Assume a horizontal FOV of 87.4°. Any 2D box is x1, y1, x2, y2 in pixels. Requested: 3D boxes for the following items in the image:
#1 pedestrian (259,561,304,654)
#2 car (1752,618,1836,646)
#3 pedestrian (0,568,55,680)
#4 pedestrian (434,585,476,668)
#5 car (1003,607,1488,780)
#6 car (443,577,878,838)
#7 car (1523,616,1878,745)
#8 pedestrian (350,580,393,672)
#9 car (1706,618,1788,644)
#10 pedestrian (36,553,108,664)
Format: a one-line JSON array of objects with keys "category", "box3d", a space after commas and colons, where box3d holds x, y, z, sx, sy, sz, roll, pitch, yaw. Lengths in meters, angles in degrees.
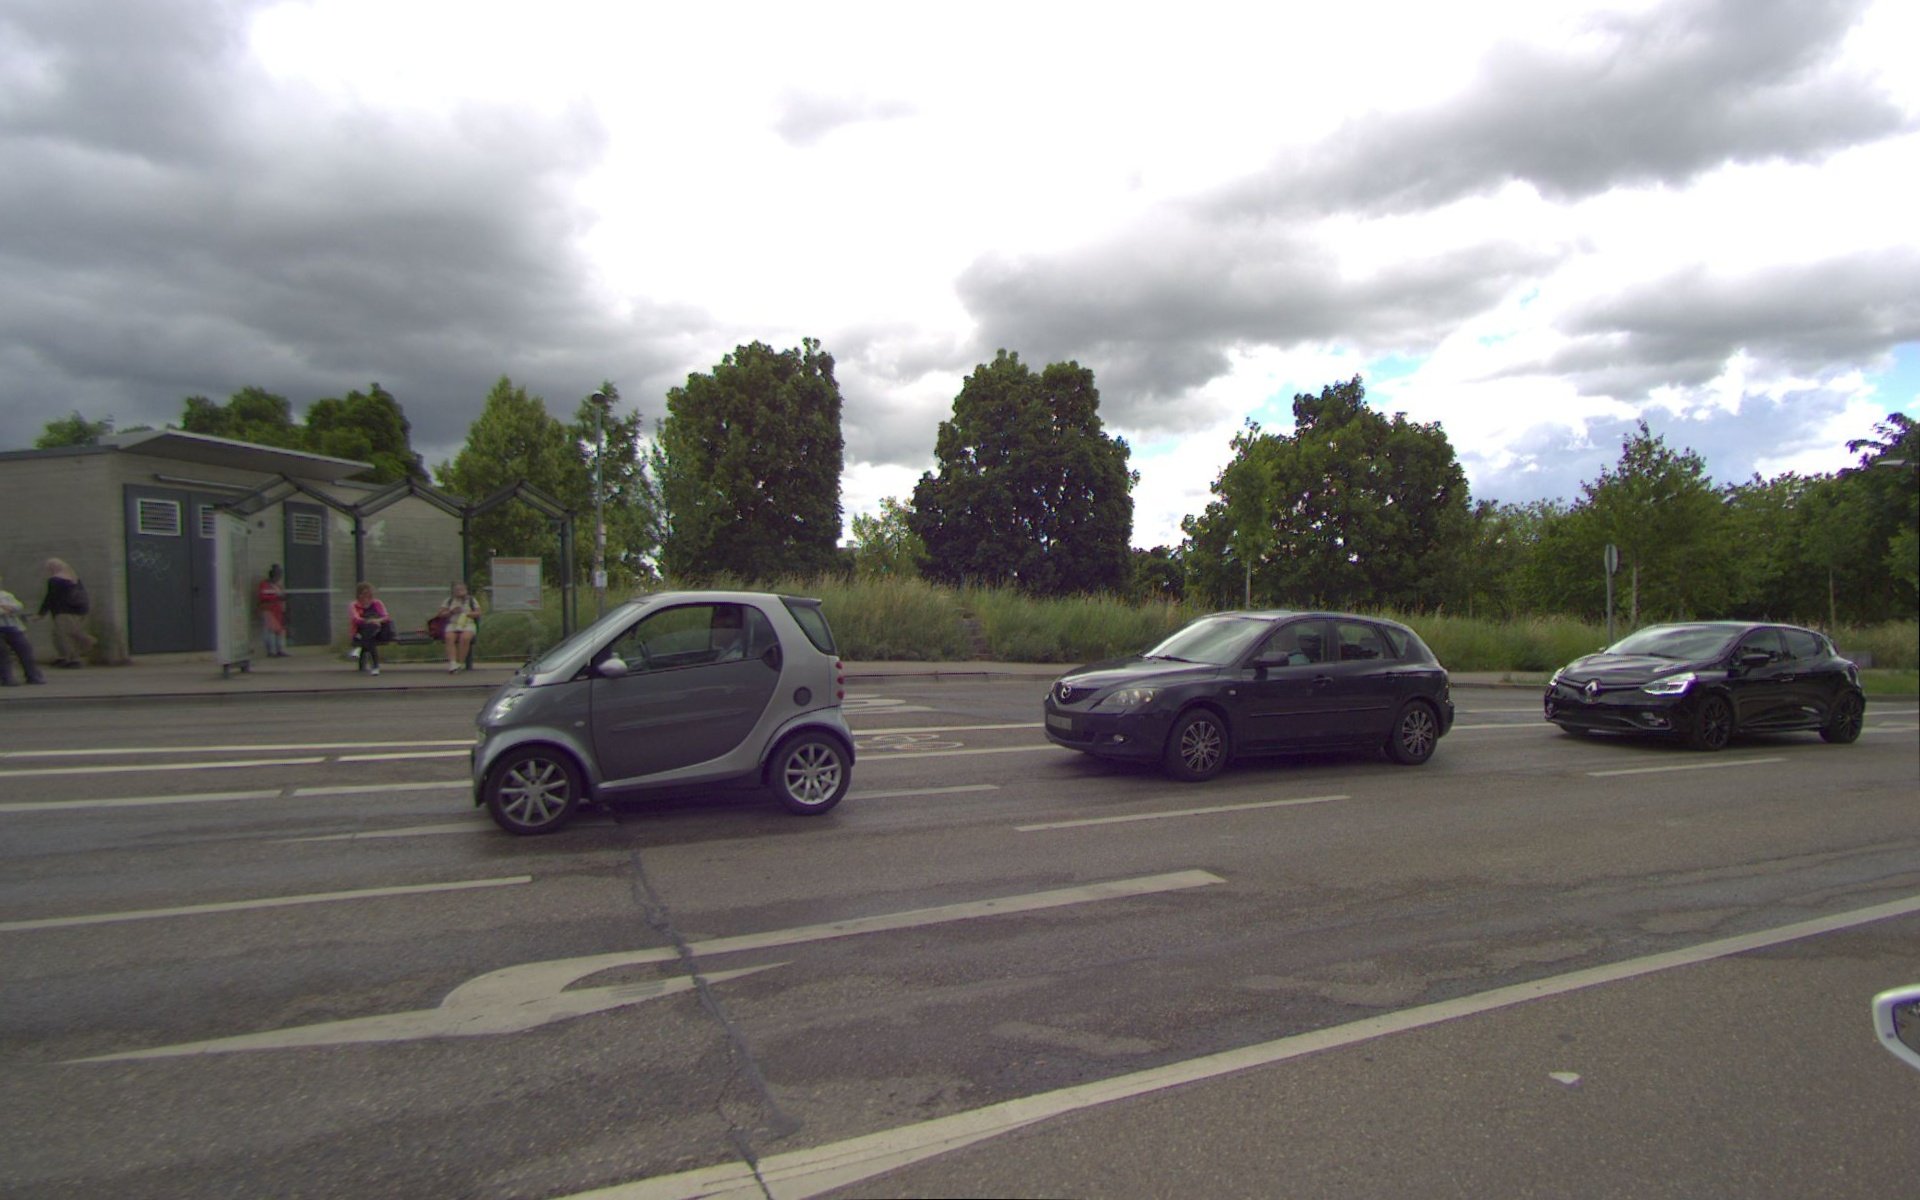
[{"category": "pedestrian", "box3d": [-12.652, 0.140, 18.737, 0.420, 1.692, 0.551, 0, 0, 14]}, {"category": "car", "box3d": [68.245, 2.649, 82.288, 1.974, 2.219, 4.951, 1, -2, -26]}, {"category": "pedestrian", "box3d": [-11.963, 0.297, 12.618, 0.765, 1.382, 0.546, 0, 0, -30]}, {"category": "pedestrian", "box3d": [-7.858, 0.403, 15.627, 0.544, 1.243, 0.768, 0, 0, -30]}, {"category": "car", "box3d": [2.728, 0.768, 9.548, 4.319, 1.350, 1.795, 1, -1, -24]}, {"category": "car", "box3d": [-2.117, 0.668, 7.201, 2.737, 1.547, 1.424, 1, -1, -25]}, {"category": "car", "box3d": [8.900, 0.884, 12.071, 4.002, 1.350, 1.636, 1, -1, -23]}, {"category": "pedestrian", "box3d": [-8.822, 0.384, 15.070, 0.544, 1.348, 0.768, 0, 0, -30]}, {"category": "car", "box3d": [64.091, 2.504, 81.910, 1.972, 2.040, 4.954, 1, -2, -24]}, {"category": "pedestrian", "box3d": [-13.731, 0.131, 15.536, 0.625, 1.692, 0.551, 0, 0, 5]}]
